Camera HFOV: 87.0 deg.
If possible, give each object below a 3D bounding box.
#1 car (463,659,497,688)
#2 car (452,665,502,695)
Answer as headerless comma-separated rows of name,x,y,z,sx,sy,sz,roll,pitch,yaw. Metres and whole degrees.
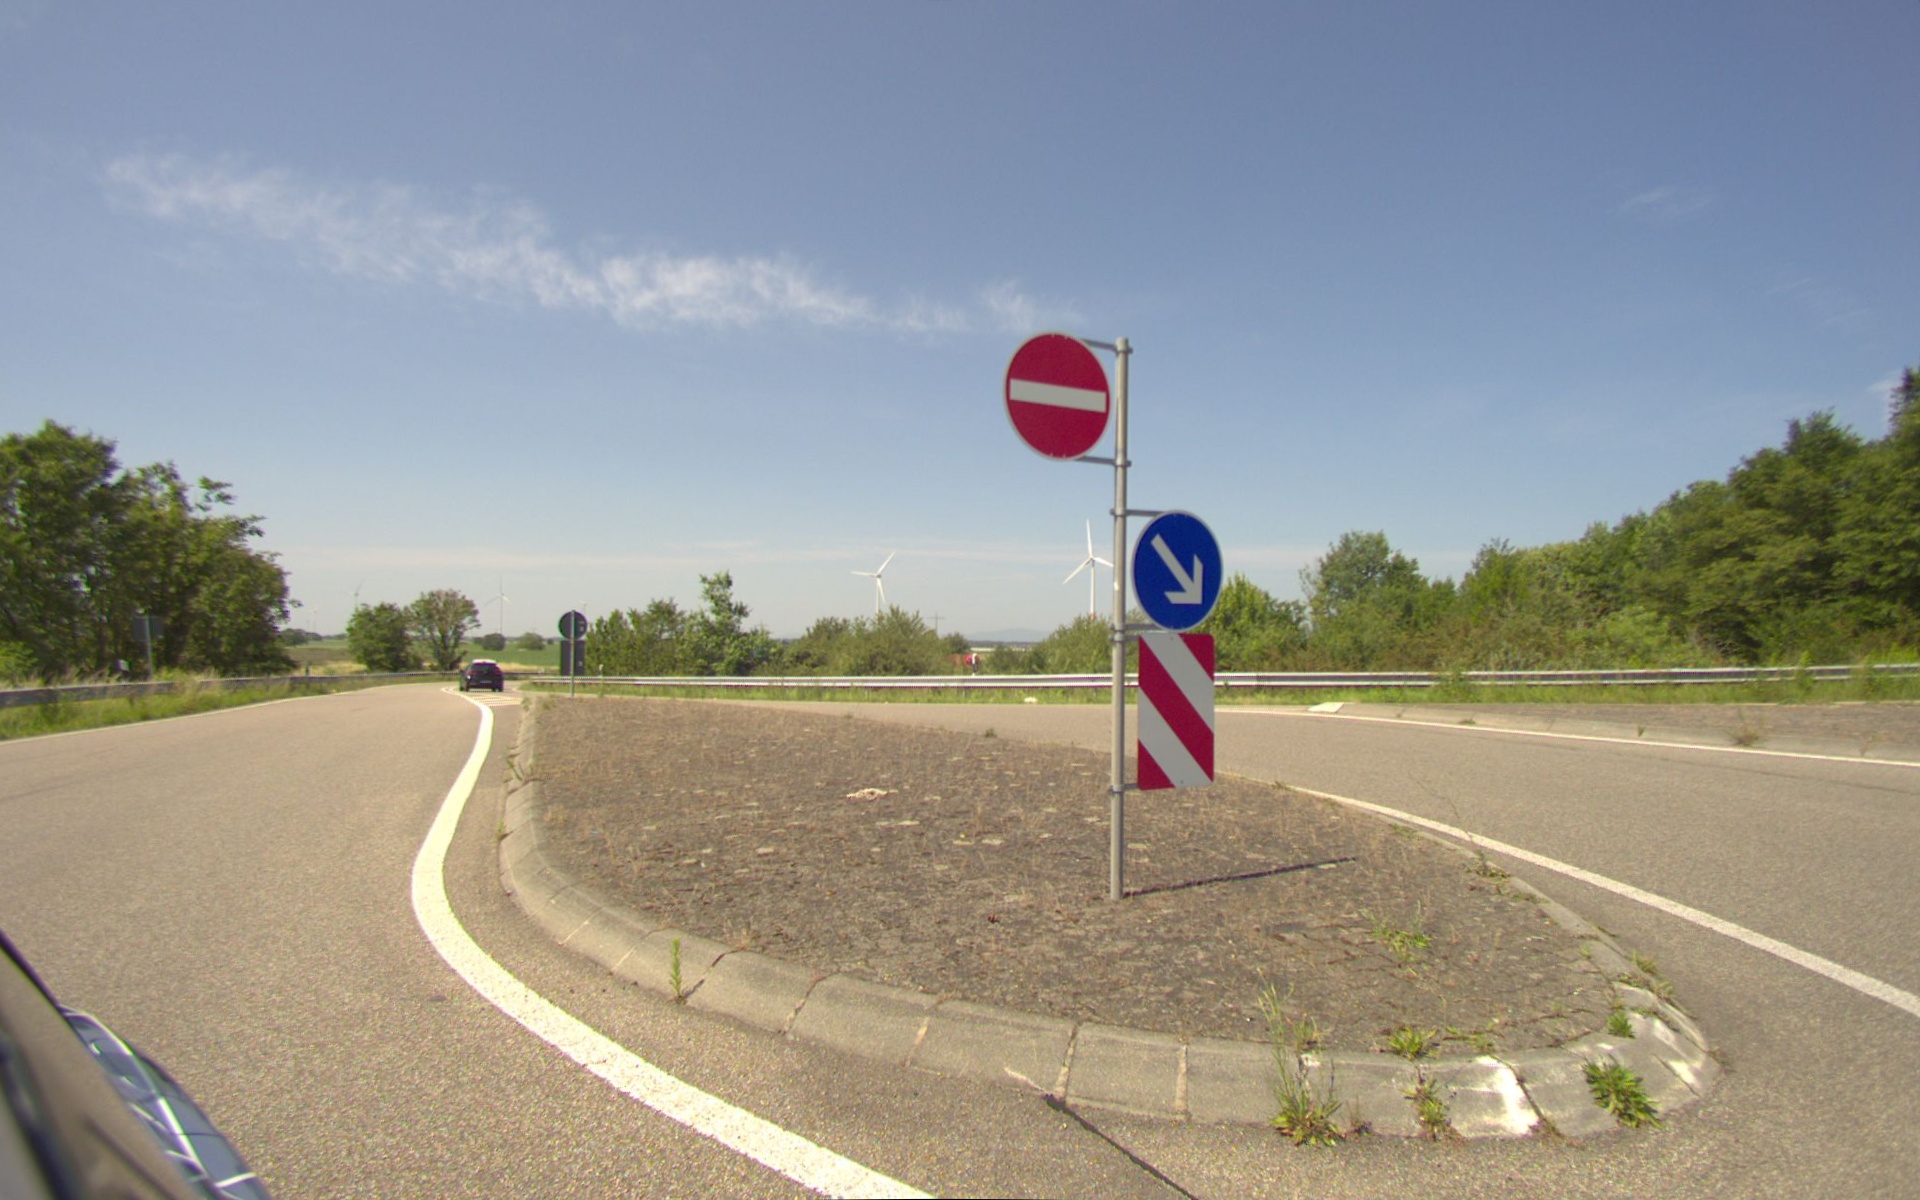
car,-29.976,4.612,63.113,1.712,1.775,4.095,2,-5,-27
car,-23.840,3.963,49.915,1.685,1.406,3.897,4,-6,-33
